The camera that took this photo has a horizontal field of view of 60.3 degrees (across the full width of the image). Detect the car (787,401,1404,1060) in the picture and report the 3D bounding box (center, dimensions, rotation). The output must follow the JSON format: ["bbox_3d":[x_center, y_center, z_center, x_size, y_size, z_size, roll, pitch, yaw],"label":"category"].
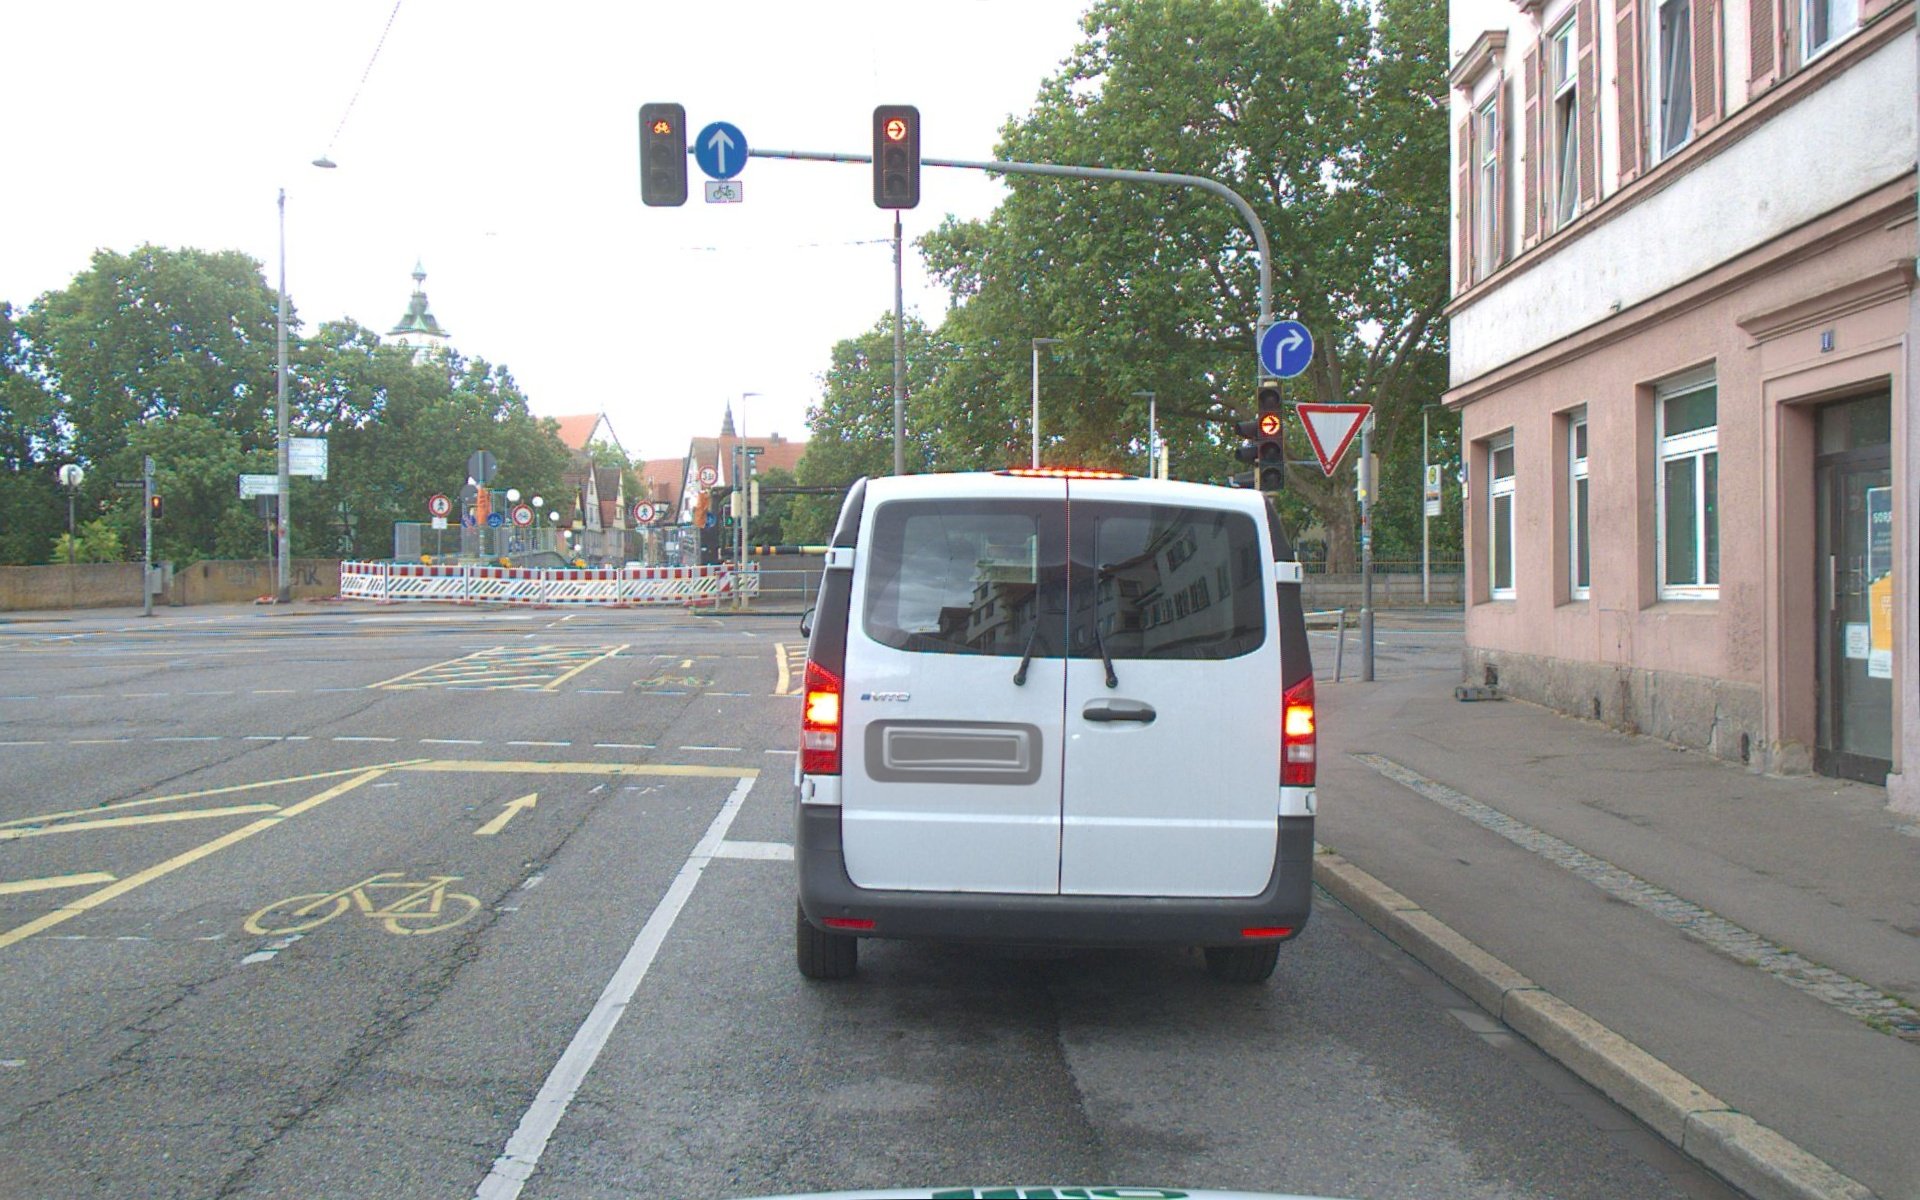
[{"bbox_3d":[0.393,0.352,7.554,1.911,2.048,4.698,1,2,-1],"label":"car"}]
